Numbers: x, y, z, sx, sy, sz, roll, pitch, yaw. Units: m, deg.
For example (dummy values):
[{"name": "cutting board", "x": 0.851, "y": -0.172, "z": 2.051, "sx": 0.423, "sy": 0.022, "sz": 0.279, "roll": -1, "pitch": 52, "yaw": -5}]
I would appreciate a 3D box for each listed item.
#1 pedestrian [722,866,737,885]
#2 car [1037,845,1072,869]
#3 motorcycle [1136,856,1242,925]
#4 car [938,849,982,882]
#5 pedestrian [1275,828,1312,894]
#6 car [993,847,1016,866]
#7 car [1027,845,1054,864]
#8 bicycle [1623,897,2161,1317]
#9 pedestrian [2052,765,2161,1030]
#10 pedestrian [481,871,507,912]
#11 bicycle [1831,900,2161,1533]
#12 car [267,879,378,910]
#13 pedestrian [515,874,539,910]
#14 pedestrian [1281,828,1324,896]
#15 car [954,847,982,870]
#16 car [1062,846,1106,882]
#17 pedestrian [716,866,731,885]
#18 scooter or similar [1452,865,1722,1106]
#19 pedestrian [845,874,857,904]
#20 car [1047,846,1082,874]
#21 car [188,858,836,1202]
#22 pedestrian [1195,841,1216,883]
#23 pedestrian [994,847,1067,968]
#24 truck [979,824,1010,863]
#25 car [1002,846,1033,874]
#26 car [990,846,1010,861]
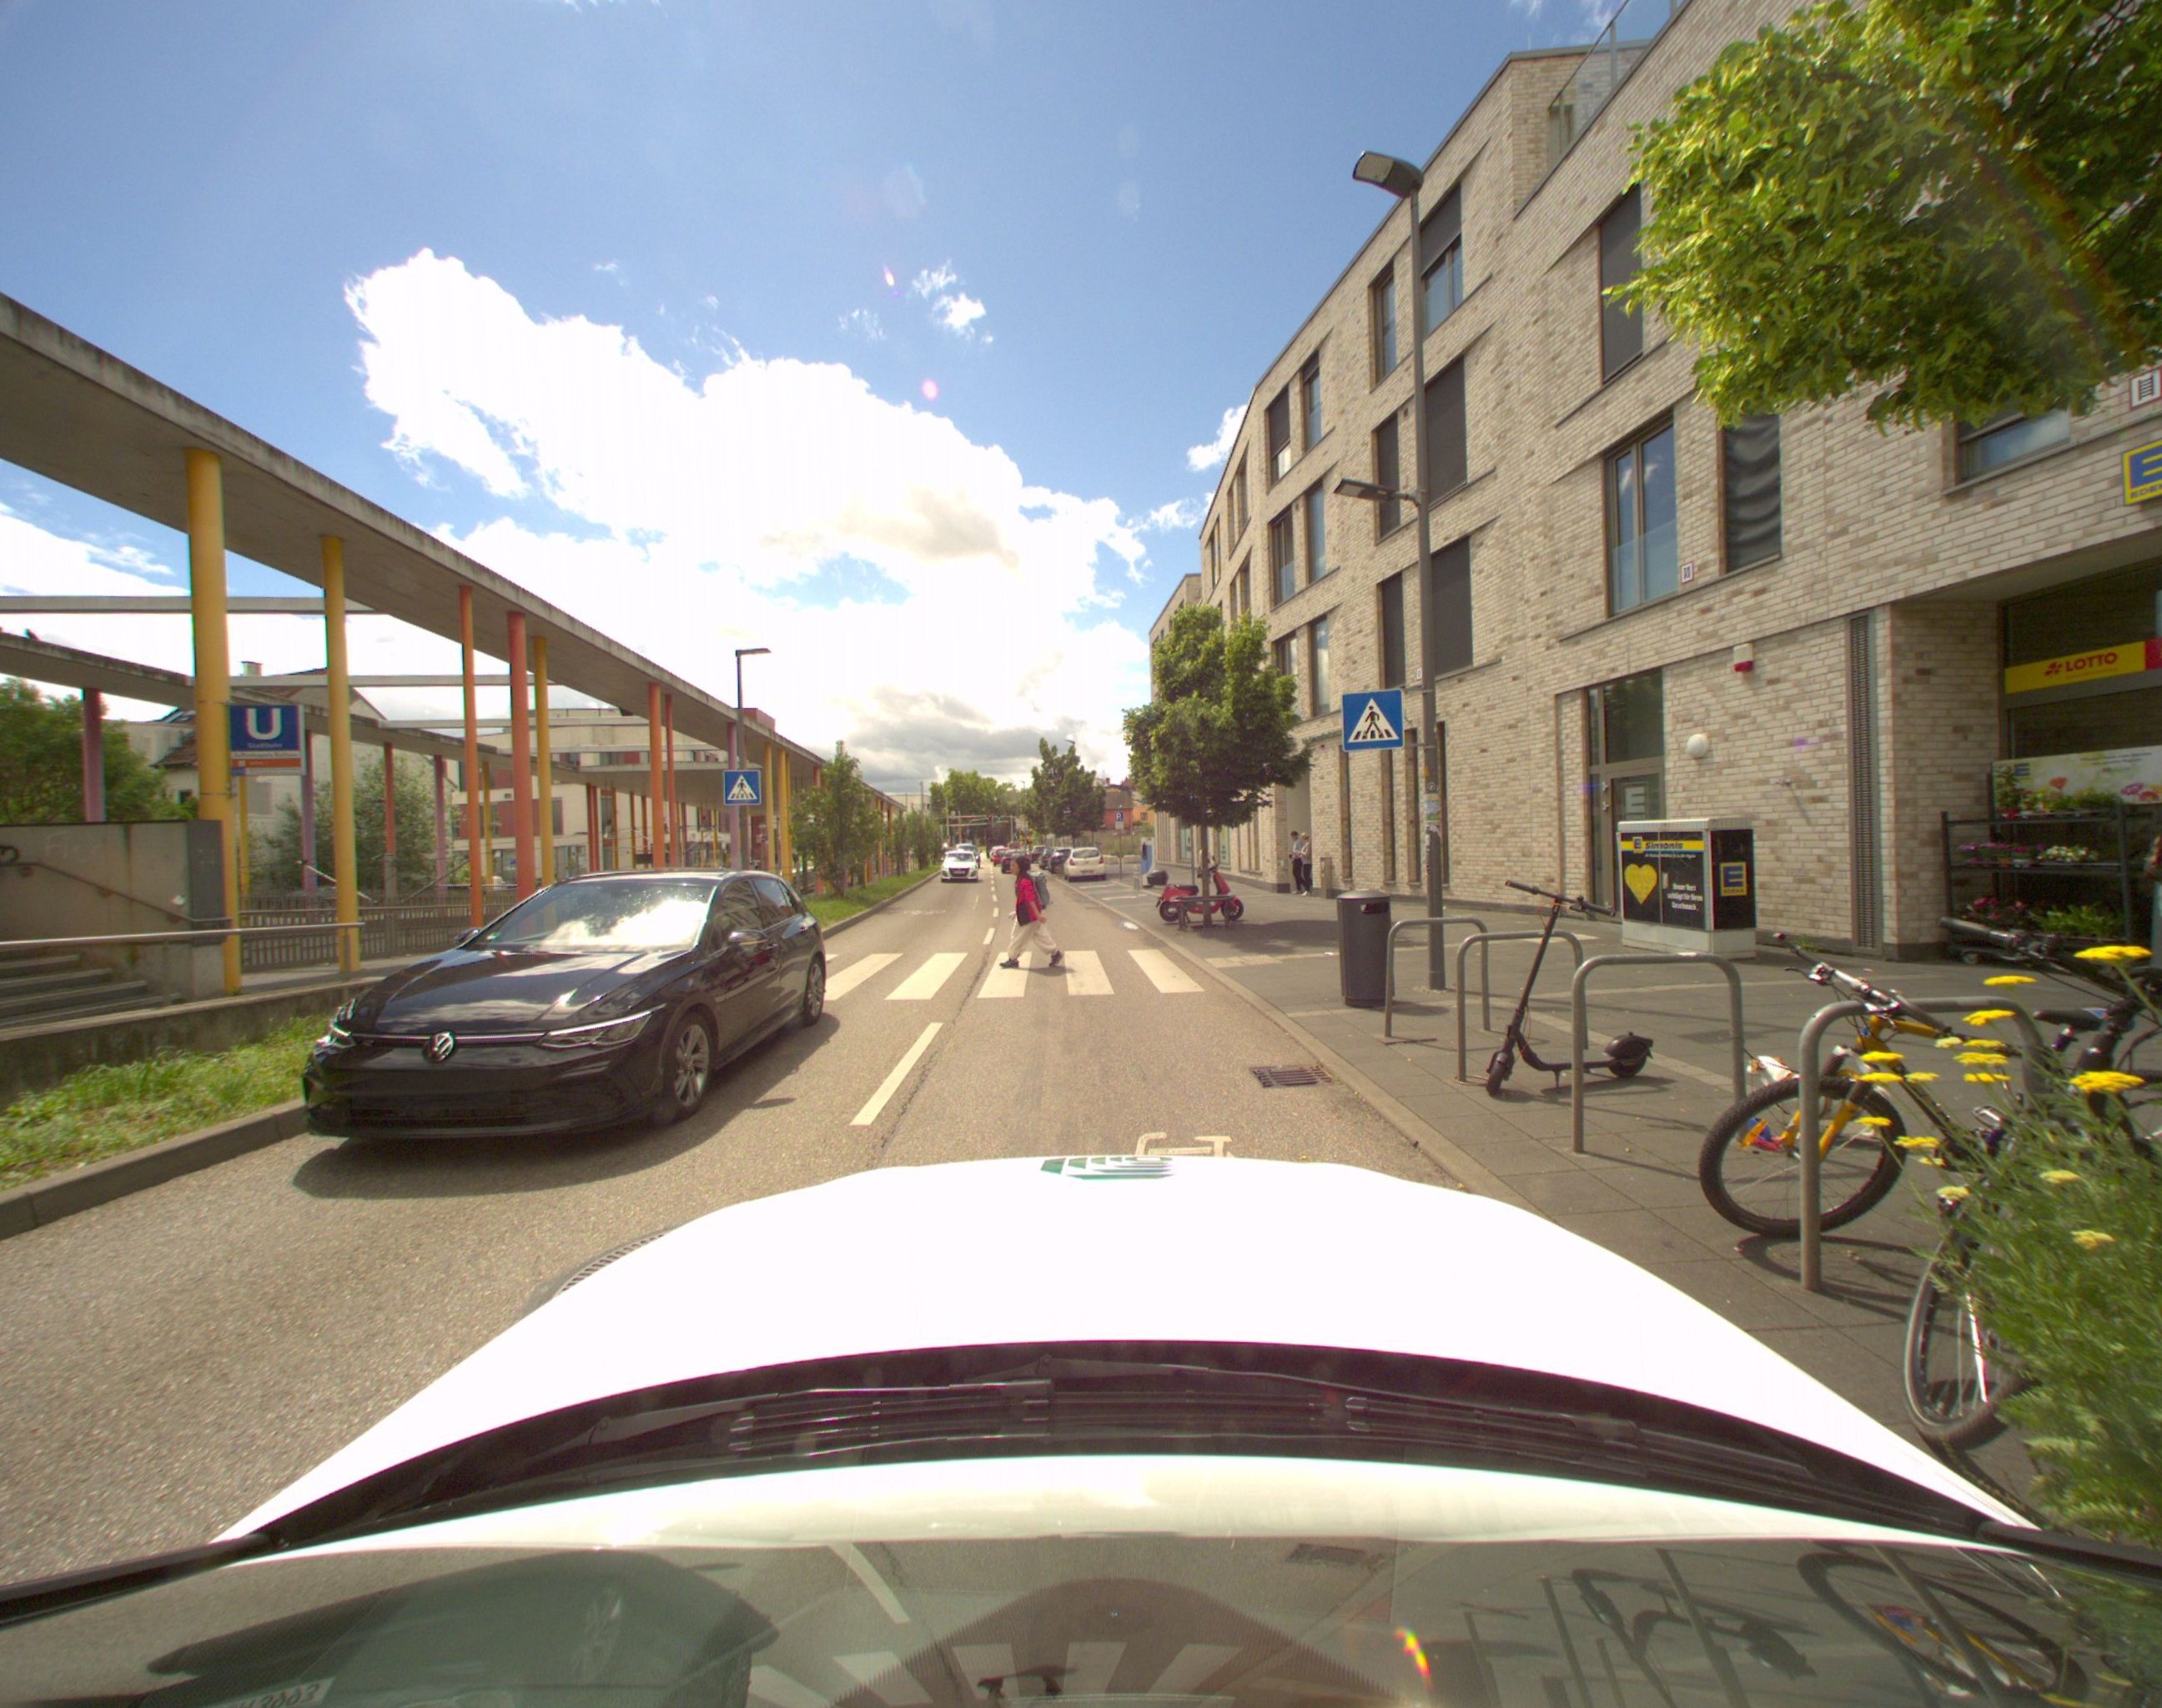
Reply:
[{"name": "pedestrian", "x": -25.673, "y": 1.551, "z": 59.477, "sx": 0.821, "sy": 1.379, "sz": 0.701, "roll": 0, "pitch": 1, "yaw": -6}, {"name": "car", "x": -1.760, "y": 0.166, "z": 53.240, "sx": 1.863, "sy": 1.451, "sz": 4.634, "roll": -3, "pitch": 1, "yaw": -6}, {"name": "motorcycle", "x": 2.233, "y": 0.748, "z": 16.722, "sx": 2.037, "sy": 1.266, "sz": 0.675, "roll": -4, "pitch": -1, "yaw": 11}, {"name": "car", "x": -5.714, "y": 0.496, "z": 38.802, "sx": 1.809, "sy": 1.469, "sz": 3.900, "roll": 0, "pitch": 0, "yaw": -5}, {"name": "pedestrian", "x": 5.894, "y": 0.192, "z": 22.624, "sx": 0.736, "sy": 1.766, "sz": 0.621, "roll": -2, "pitch": -1, "yaw": -13}, {"name": "car", "x": -6.187, "y": 0.148, "z": 65.634, "sx": 1.710, "sy": 1.393, "sz": 3.799, "roll": -3, "pitch": 1, "yaw": -8}, {"name": "car", "x": -3.431, "y": 0.027, "z": 67.899, "sx": 1.781, "sy": 1.451, "sz": 4.464, "roll": -3, "pitch": 1, "yaw": -8}, {"name": "bicycle", "x": 3.066, "y": 0.780, "z": 2.828, "sx": 1.816, "sy": 1.131, "sz": 0.756, "roll": -3, "pitch": -1, "yaw": 0}, {"name": "pedestrian", "x": 7.414, "y": 0.277, "z": 5.412, "sx": 0.655, "sy": 1.741, "sz": 1.017, "roll": -2, "pitch": 0, "yaw": -1}, {"name": "pedestrian", "x": -27.092, "y": 1.716, "z": 37.603, "sx": 0.641, "sy": 1.883, "sz": 0.798, "roll": 0, "pitch": -2, "yaw": -7}, {"name": "bicycle", "x": 3.071, "y": 0.730, "z": 1.941, "sx": 1.816, "sy": 1.201, "sz": 0.756, "roll": -3, "pitch": -1, "yaw": 0}, {"name": "car", "x": -35.160, "y": 1.879, "z": 37.783, "sx": 3.964, "sy": 1.337, "sz": 1.574, "roll": -1, "pitch": -1, "yaw": 8}, {"name": "pedestrian", "x": -25.917, "y": 1.751, "z": 38.098, "sx": 0.641, "sy": 1.662, "sz": 0.728, "roll": 0, "pitch": -2, "yaw": -7}, {"name": "pedestrian", "x": 5.925, "y": 0.211, "z": 21.840, "sx": 0.735, "sy": 1.766, "sz": 0.752, "roll": -2, "pitch": -1, "yaw": -20}, {"name": "car", "x": -8.229, "y": 0.310, "z": 59.093, "sx": 1.918, "sy": 1.605, "sz": 4.614, "roll": -1, "pitch": 0, "yaw": -8}, {"name": "car", "x": 0.091, "y": 0.401, "z": 37.466, "sx": 1.690, "sy": 1.483, "sz": 3.792, "roll": -3, "pitch": 1, "yaw": -4}, {"name": "pedestrian", "x": -25.649, "y": 1.536, "z": 58.456, "sx": 0.821, "sy": 1.379, "sz": 0.701, "roll": 0, "pitch": 1, "yaw": -6}, {"name": "scooter or similar", "x": 2.881, "y": 0.721, "z": 4.700, "sx": 1.192, "sy": 1.249, "sz": 0.494, "roll": -3, "pitch": -1, "yaw": 0}, {"name": "pedestrian", "x": -14.115, "y": 2.139, "z": 49.921, "sx": 0.585, "sy": 1.830, "sz": 0.709, "roll": 0, "pitch": -2, "yaw": -5}, {"name": "car", "x": -0.992, "y": 0.312, "z": 46.765, "sx": 1.690, "sy": 1.461, "sz": 4.140, "roll": -3, "pitch": 1, "yaw": -5}, {"name": "car", "x": -3.158, "y": 0.782, "z": 5.755, "sx": 1.768, "sy": 1.464, "sz": 4.229, "roll": -1, "pitch": 0, "yaw": -3}, {"name": "pedestrian", "x": 4.555, "y": 0.285, "z": 29.875, "sx": 0.605, "sy": 1.472, "sz": 0.791, "roll": -3, "pitch": 1, "yaw": 2}, {"name": "pedestrian", "x": -0.706, "y": 0.709, "z": 11.061, "sx": 0.926, "sy": 1.565, "sz": 0.813, "roll": 0, "pitch": -2, "yaw": -8}, {"name": "truck", "x": -10.755, "y": -1.160, "z": 100.799, "sx": 3.203, "sy": 4.536, "sz": 8.997, "roll": -1, "pitch": -1, "yaw": -10}, {"name": "car", "x": -3.878, "y": 0.329, "z": 49.057, "sx": 1.724, "sy": 1.456, "sz": 3.801, "roll": -2, "pitch": 1, "yaw": -6}, {"name": "car", "x": -8.472, "y": -0.049, "z": 84.536, "sx": 1.887, "sy": 1.465, "sz": 4.058, "roll": -3, "pitch": 0, "yaw": -8}]
